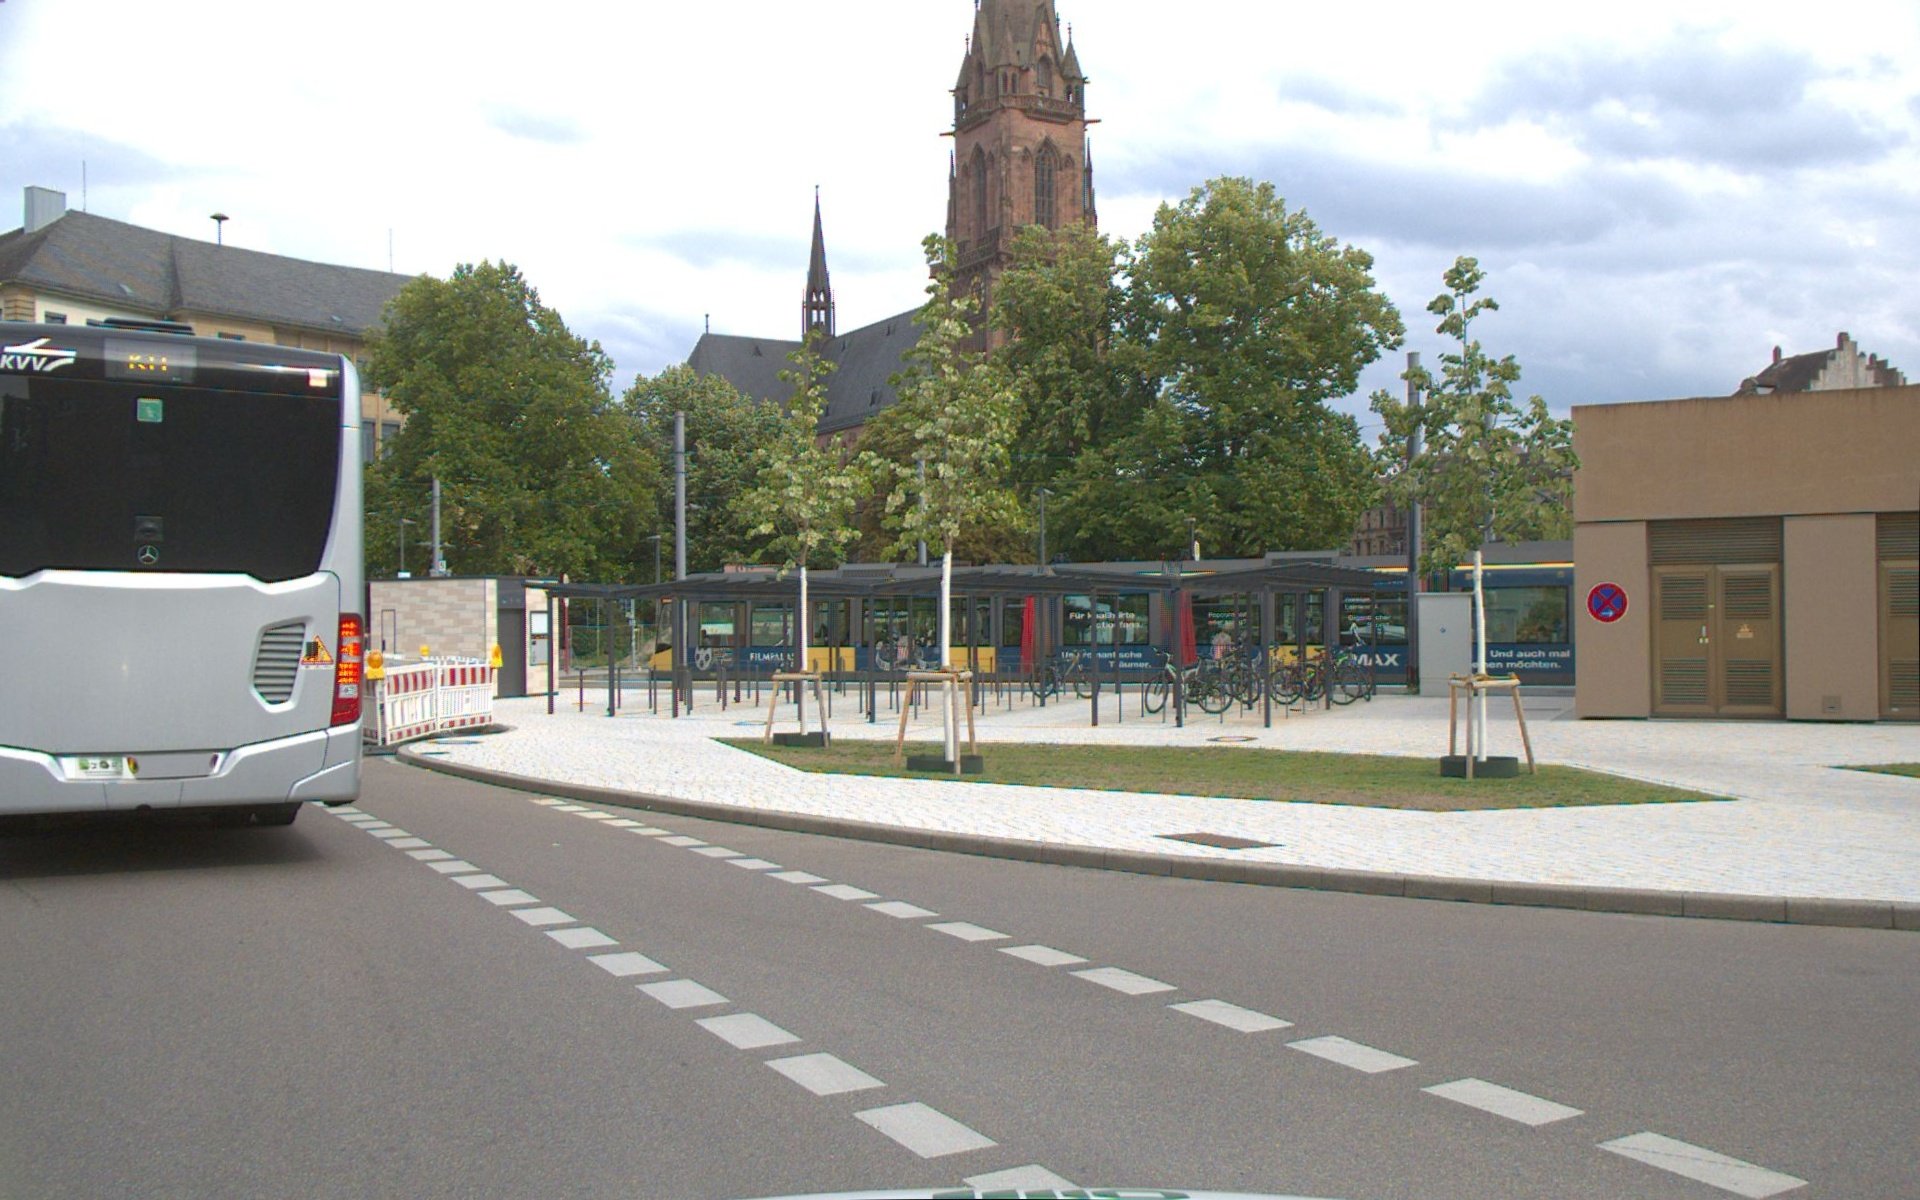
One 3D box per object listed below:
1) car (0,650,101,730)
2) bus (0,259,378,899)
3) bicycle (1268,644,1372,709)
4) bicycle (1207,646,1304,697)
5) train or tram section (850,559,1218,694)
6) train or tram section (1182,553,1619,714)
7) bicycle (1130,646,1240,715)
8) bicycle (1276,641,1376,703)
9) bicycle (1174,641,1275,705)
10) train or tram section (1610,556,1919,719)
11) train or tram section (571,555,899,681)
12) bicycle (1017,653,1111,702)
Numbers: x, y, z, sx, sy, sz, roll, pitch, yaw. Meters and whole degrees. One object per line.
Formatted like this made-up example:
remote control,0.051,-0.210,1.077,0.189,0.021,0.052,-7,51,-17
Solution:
car,-19.592,1.874,35.507,1.971,1.385,4.234,0,1,-29
bus,-8.085,0.129,15.507,2.675,3.499,14.043,0,-2,-29
bicycle,6.931,1.457,31.820,1.918,1.176,0.584,1,1,16
bicycle,6.228,1.499,34.852,1.920,0.987,0.584,1,1,22
train or tram section,1.891,0.580,43.549,9.212,3.269,3.061,1,1,25
train or tram section,10.442,0.651,39.518,9.701,3.510,3.061,1,1,25
bicycle,4.101,1.464,30.167,1.918,1.176,0.584,1,1,16
bicycle,7.348,1.438,33.217,1.918,1.176,0.584,1,1,16
bicycle,5.228,1.432,32.713,1.918,1.176,0.584,1,1,16
train or tram section,19.017,0.733,35.493,9.283,3.303,3.061,1,1,25
train or tram section,-6.506,0.408,47.455,9.154,3.334,3.061,1,1,25
bicycle,2.213,1.647,35.328,1.920,0.971,0.584,1,1,22
